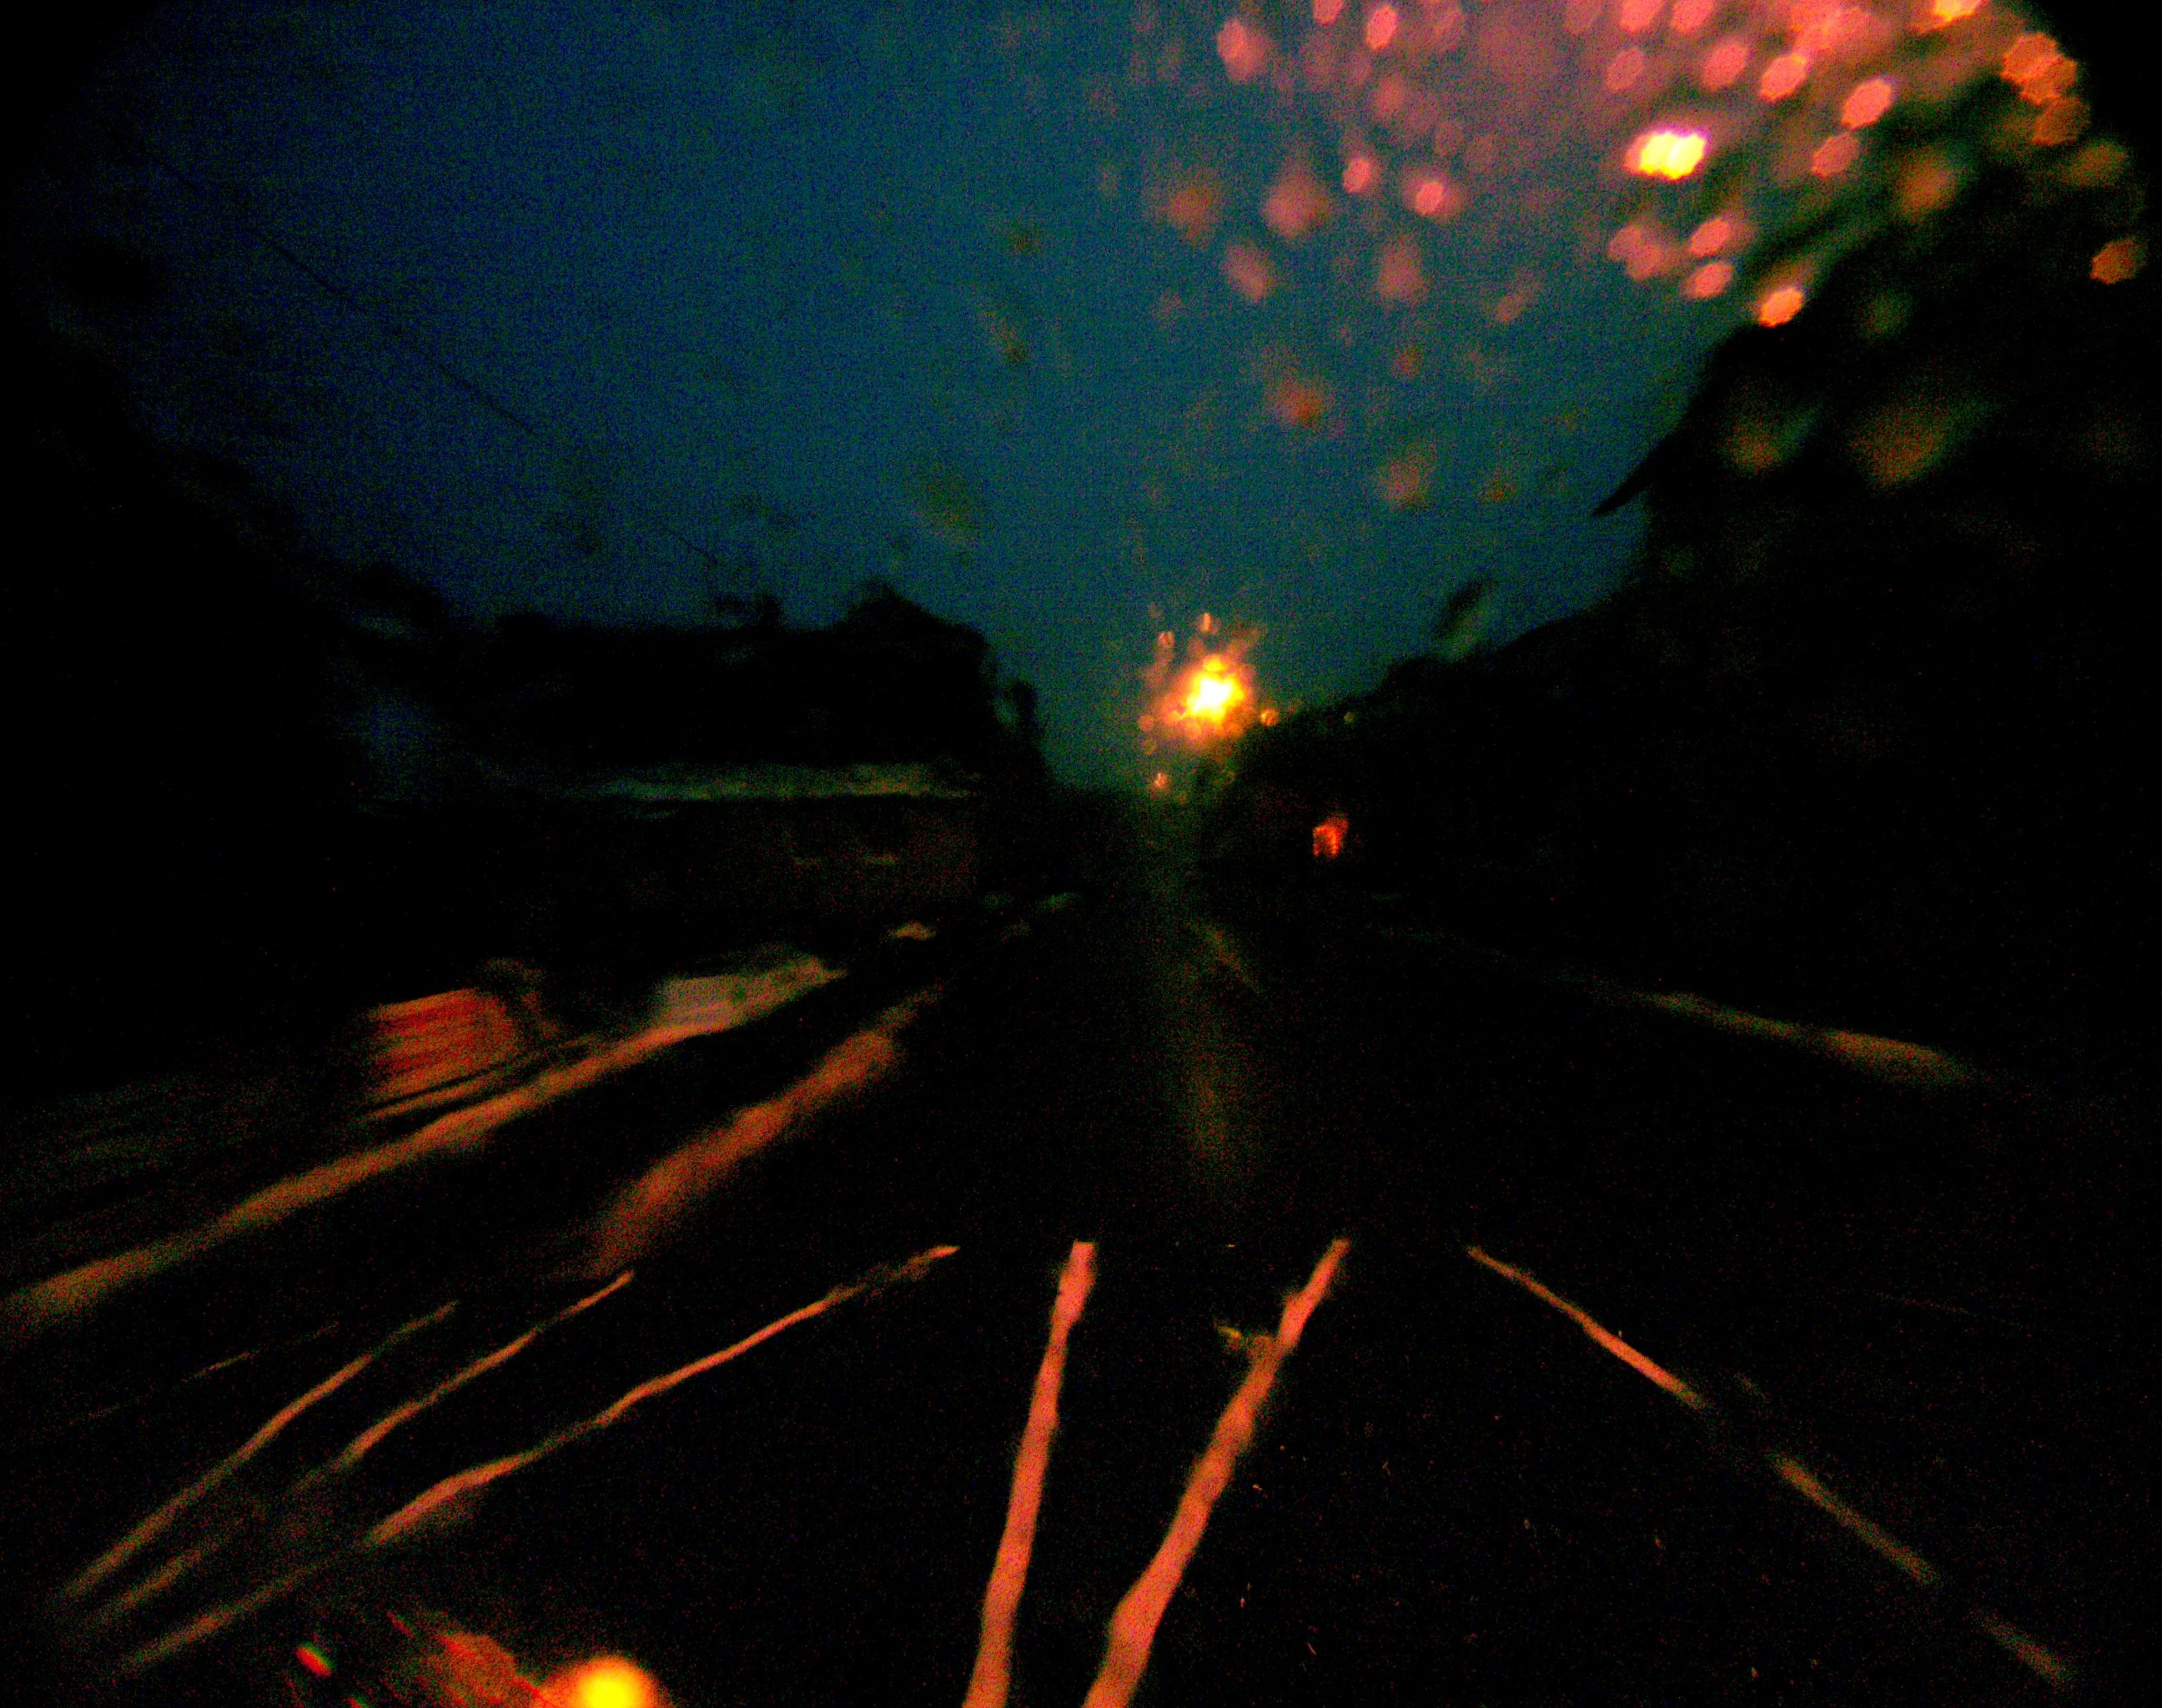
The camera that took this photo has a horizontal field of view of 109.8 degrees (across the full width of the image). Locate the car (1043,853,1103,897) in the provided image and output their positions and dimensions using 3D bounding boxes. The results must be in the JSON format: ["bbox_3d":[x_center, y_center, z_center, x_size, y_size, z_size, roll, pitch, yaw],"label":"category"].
[{"bbox_3d":[-0.227,0.770,29.769,1.914,1.472,4.282,-2,1,5],"label":"car"}]

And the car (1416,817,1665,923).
[{"bbox_3d":[9.231,0.374,15.860,1.770,1.726,4.638,-6,-1,-8],"label":"car"}]
